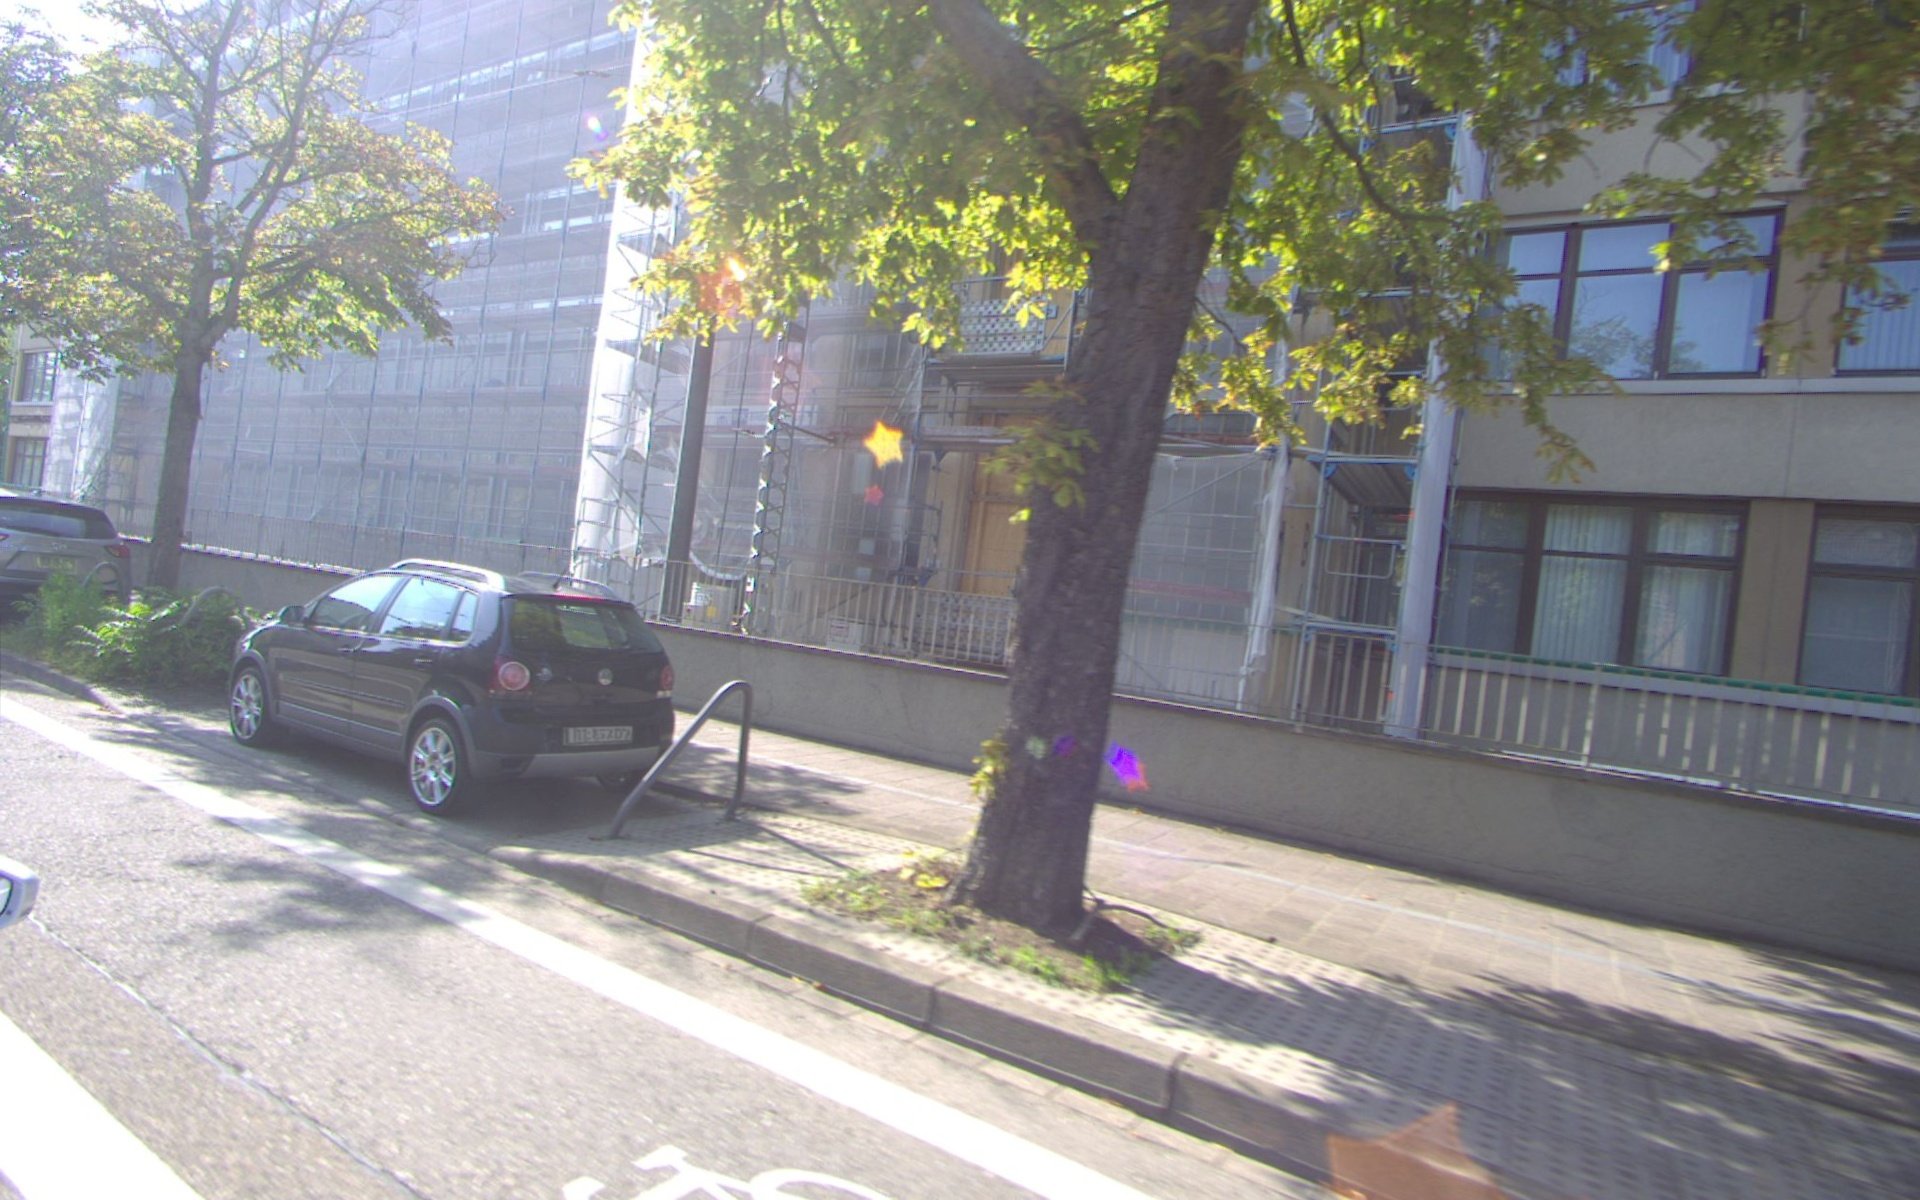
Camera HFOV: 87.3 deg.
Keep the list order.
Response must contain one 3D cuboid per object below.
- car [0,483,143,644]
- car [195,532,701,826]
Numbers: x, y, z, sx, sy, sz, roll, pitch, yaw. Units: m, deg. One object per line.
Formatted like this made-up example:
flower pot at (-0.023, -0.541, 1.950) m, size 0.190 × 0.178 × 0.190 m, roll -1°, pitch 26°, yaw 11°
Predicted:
car at (-12.443, -0.635, 12.654) m, size 4.321 × 1.711 × 1.758 m, roll 7°, pitch -2°, yaw 30°
car at (-3.890, 0.460, 7.495) m, size 3.676 × 1.502 × 1.578 m, roll 6°, pitch -1°, yaw 32°
